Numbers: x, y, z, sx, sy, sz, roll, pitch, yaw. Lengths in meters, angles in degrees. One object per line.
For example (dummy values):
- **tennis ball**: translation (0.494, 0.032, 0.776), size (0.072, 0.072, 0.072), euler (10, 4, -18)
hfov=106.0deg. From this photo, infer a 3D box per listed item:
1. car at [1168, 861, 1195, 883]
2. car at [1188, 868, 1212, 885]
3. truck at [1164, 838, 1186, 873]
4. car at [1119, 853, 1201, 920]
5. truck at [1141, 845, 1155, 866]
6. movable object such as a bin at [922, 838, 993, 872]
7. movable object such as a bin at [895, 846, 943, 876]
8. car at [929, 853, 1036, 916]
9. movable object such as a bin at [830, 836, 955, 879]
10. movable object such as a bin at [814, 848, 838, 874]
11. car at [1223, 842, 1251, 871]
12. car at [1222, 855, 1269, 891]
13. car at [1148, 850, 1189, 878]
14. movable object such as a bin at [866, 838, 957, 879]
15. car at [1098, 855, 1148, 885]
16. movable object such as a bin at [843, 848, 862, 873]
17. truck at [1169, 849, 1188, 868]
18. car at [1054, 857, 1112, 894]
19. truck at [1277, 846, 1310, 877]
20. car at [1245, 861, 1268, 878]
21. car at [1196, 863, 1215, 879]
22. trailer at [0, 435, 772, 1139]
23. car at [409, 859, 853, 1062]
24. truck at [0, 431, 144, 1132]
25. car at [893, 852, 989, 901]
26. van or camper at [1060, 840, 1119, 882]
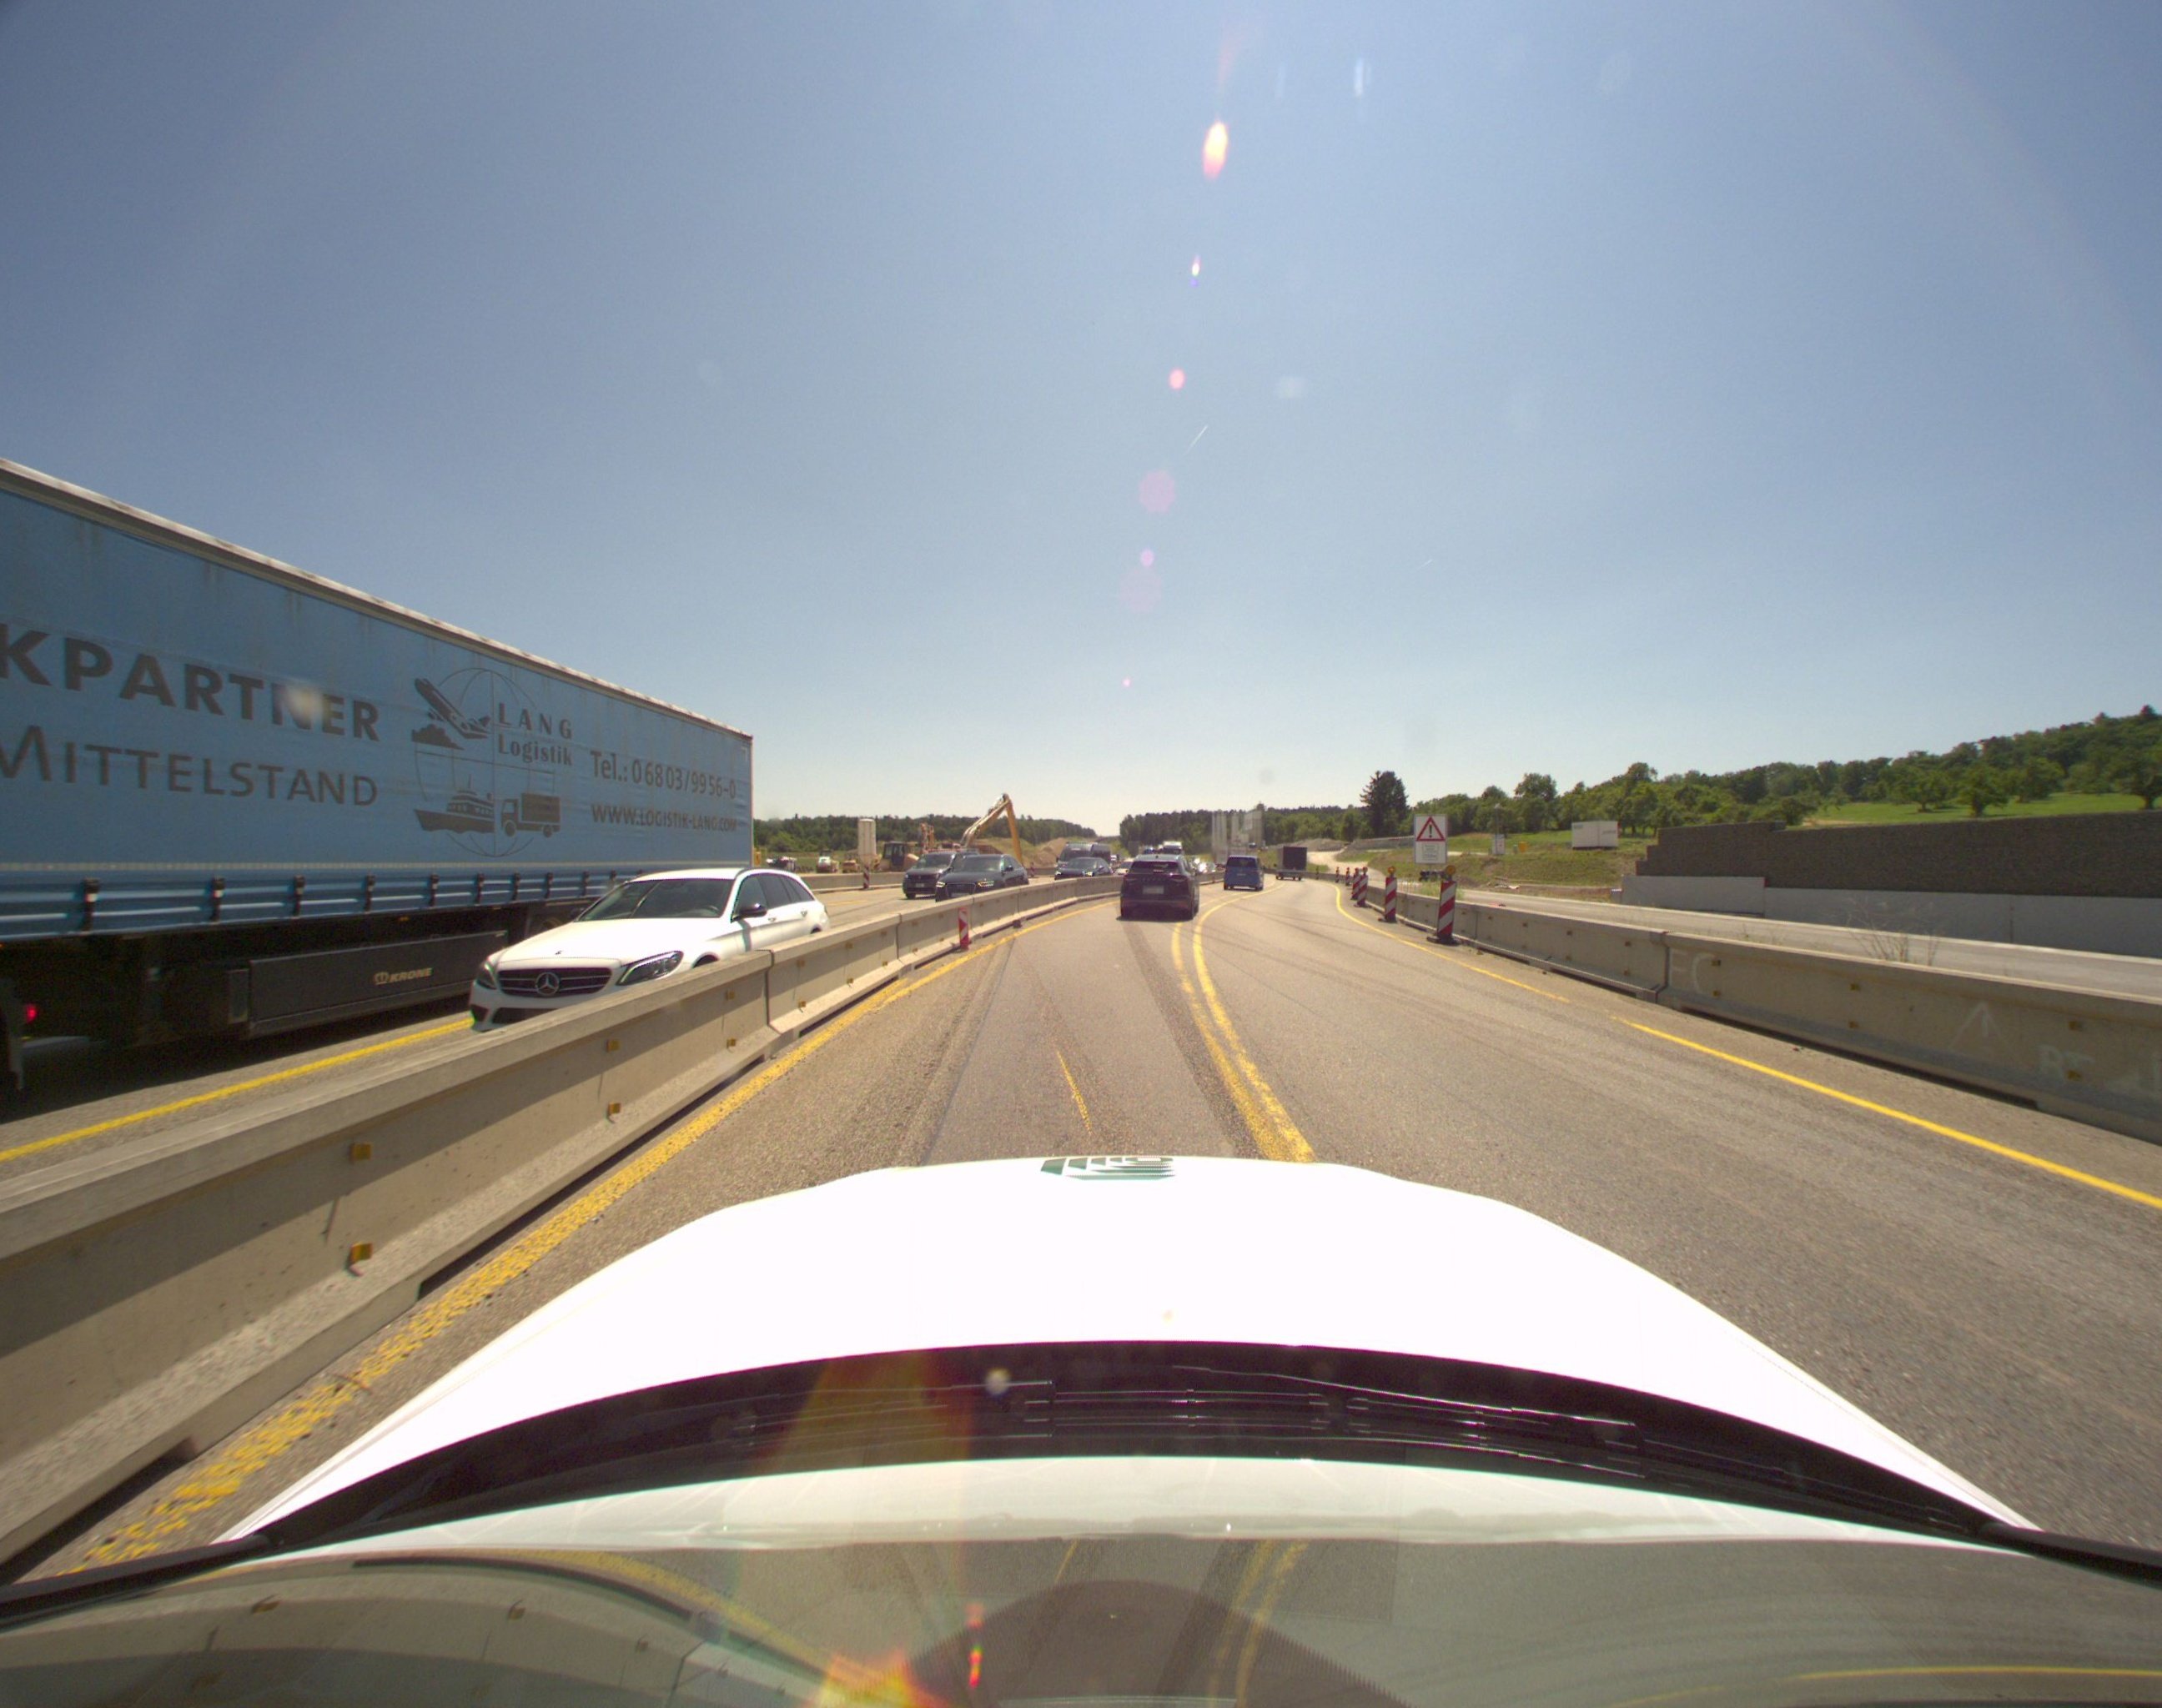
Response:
- **car**: translation (7.866, 1.367, 63.554), size (1.498, 1.604, 3.968), euler (4, 0, 15)
- **car**: translation (10.580, 1.979, 72.214), size (1.714, 1.408, 4.143), euler (1, 0, 12)
- **truck**: translation (11.989, 0.198, 104.276), size (2.757, 4.260, 6.208), euler (0, 0, 5)
- **car**: translation (2.183, 0.790, 21.536), size (1.831, 1.582, 4.011), euler (0, 0, 10)
- **truck**: translation (13.577, 0.338, 165.672), size (2.760, 4.137, 10.883), euler (1, 0, 4)
- **movable object such as a bin**: translation (-9.705, 0.116, 64.540), size (3.266, 2.440, 5.464), euler (4, 0, 18)
- **movable object such as a bin**: translation (-17.261, 0.688, 87.317), size (3.646, 3.025, 5.001), euler (-1, 1, 6)
- **car**: translation (-2.709, 0.816, 23.680), size (1.757, 1.607, 4.723), euler (-2, 0, 10)
- **movable object such as a bin**: translation (-12.669, 0.216, 54.483), size (7.828, 2.432, 3.742), euler (3, 0, 35)
- **movable object such as a bin**: translation (-33.337, 0.908, 106.642), size (2.424, 3.126, 5.458), euler (4, 0, -13)
- **car**: translation (24.242, 0.341, 127.168), size (3.418, 4.101, 9.214), euler (4, 0, 7)
- **car**: translation (9.055, 1.013, 44.580), size (1.977, 1.844, 4.019), euler (1, 0, 19)
- **car**: translation (6.127, 0.730, 56.798), size (1.858, 1.873, 5.081), euler (-1, -1, 17)
- **movable object such as a bin**: translation (-12.692, 0.334, 60.980), size (5.995, 2.763, 2.828), euler (2, 0, 25)
- **car**: translation (2.478, 0.883, 47.016), size (1.742, 1.616, 4.249), euler (2, 0, 20)
- **movable object such as a bin**: translation (-30.205, 0.816, 107.704), size (1.995, 3.126, 3.740), euler (4, 0, -13)
- **truck**: translation (23.441, 0.937, 196.093), size (3.462, 4.220, 10.381), euler (5, 1, 2)
- **car**: translation (0.156, 0.924, 36.628), size (1.678, 1.481, 4.485), euler (-2, 0, 12)
- **truck**: translation (21.039, 0.718, 80.872), size (2.657, 2.945, 5.634), euler (-1, 0, 9)
- **car**: translation (16.619, 1.407, 77.004), size (2.032, 1.527, 5.082), euler (-1, -1, 12)
- **car**: translation (12.221, 1.617, 79.832), size (1.646, 1.453, 4.260), euler (1, 0, 10)
- **trailer**: translation (-7.722, -0.398, 9.217), size (2.904, 4.128, 13.917), euler (-1, 0, 1)
- **car**: translation (-4.118, 0.843, 8.589), size (2.009, 1.444, 4.588), euler (-2, 0, 1)
- **truck**: translation (-7.766, -0.401, 2.381), size (2.906, 4.128, 6.135), euler (-1, 0, -1)
- **car**: translation (-5.484, 0.839, 32.498), size (1.761, 1.765, 4.731), euler (-2, 0, 17)
- **van or camper**: translation (0.657, 0.470, 52.577), size (2.082, 2.541, 6.332), euler (-1, -1, 17)
